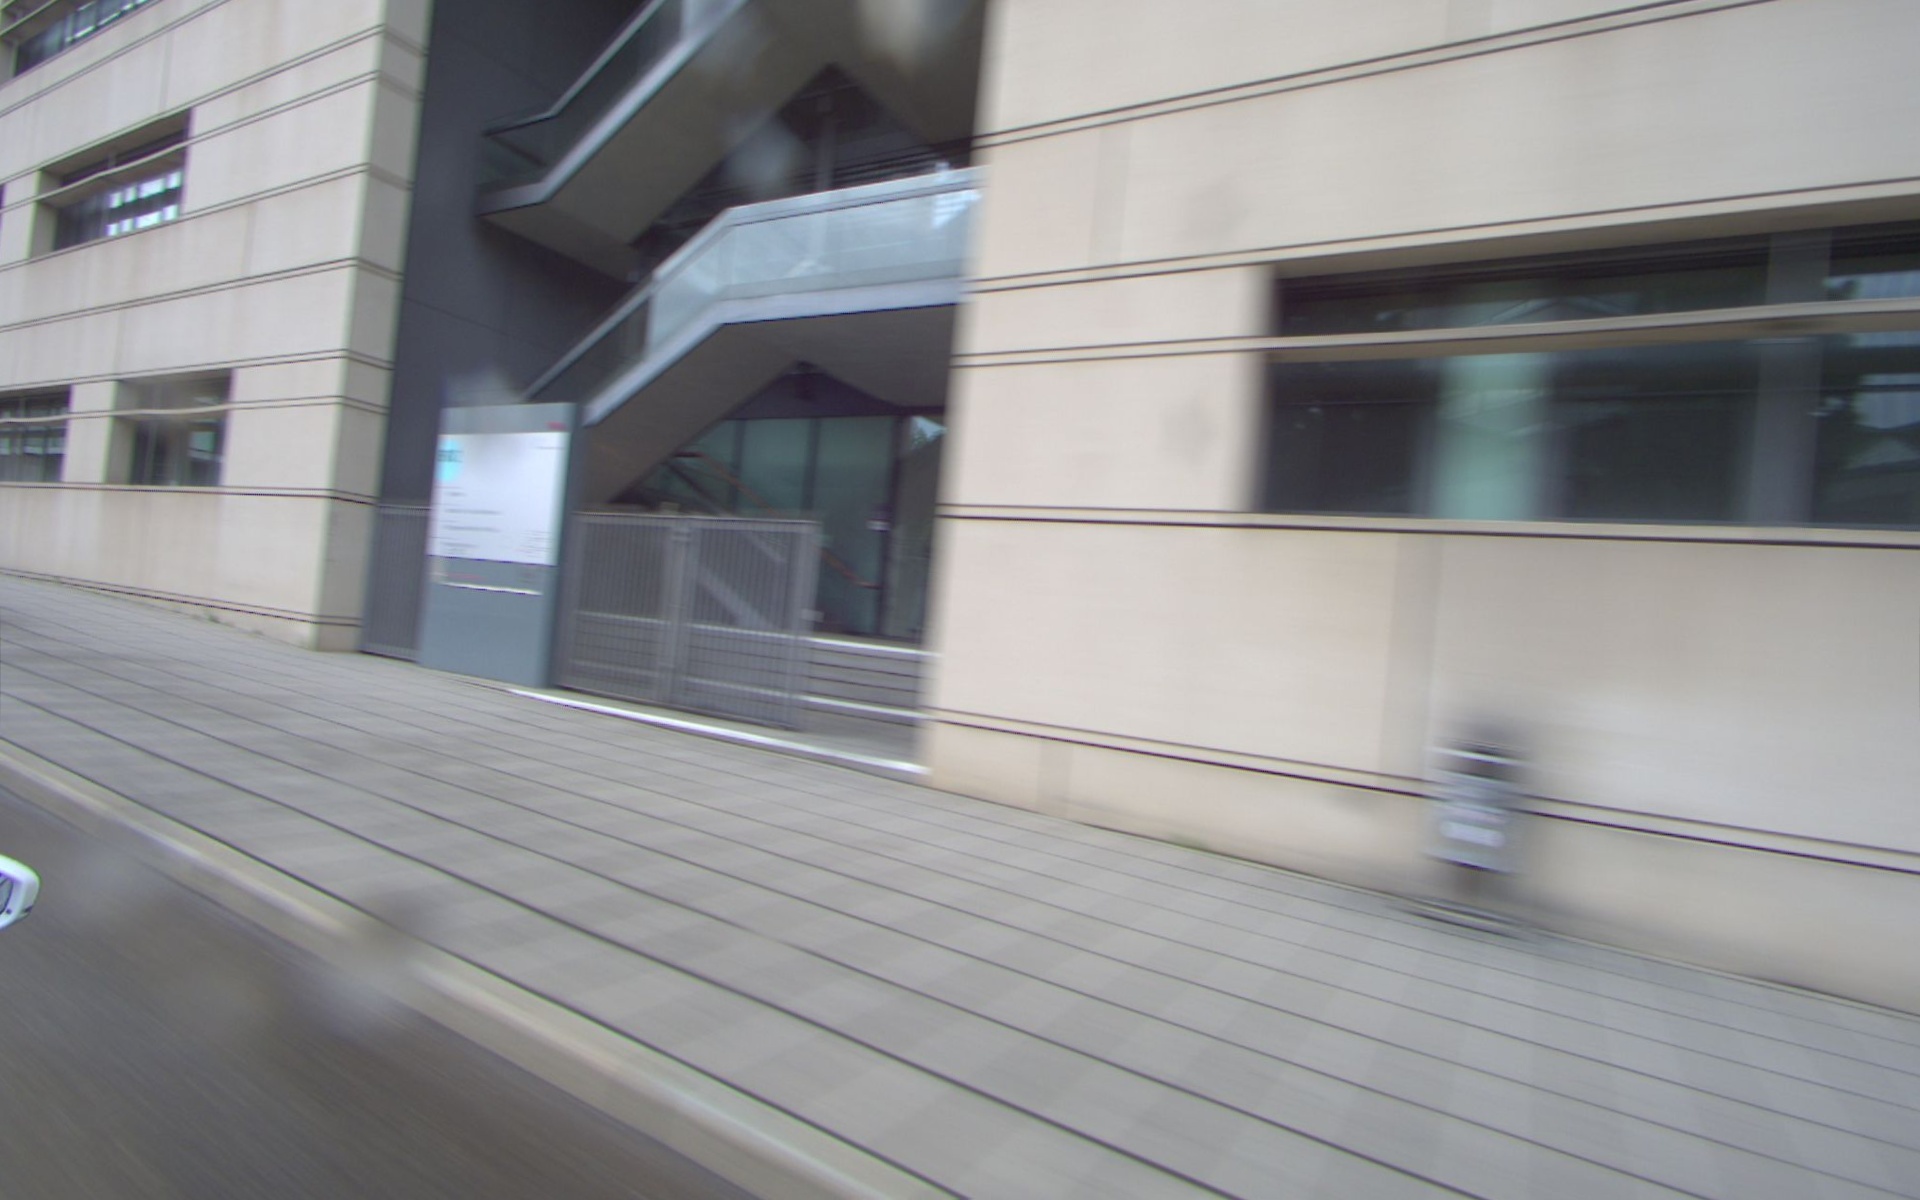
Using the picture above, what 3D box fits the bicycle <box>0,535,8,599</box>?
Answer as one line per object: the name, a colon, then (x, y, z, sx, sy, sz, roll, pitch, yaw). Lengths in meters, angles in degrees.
bicycle: (-12.728, -0.427, 12.030, 0.648, 0.964, 1.763, 6, -2, 27)
